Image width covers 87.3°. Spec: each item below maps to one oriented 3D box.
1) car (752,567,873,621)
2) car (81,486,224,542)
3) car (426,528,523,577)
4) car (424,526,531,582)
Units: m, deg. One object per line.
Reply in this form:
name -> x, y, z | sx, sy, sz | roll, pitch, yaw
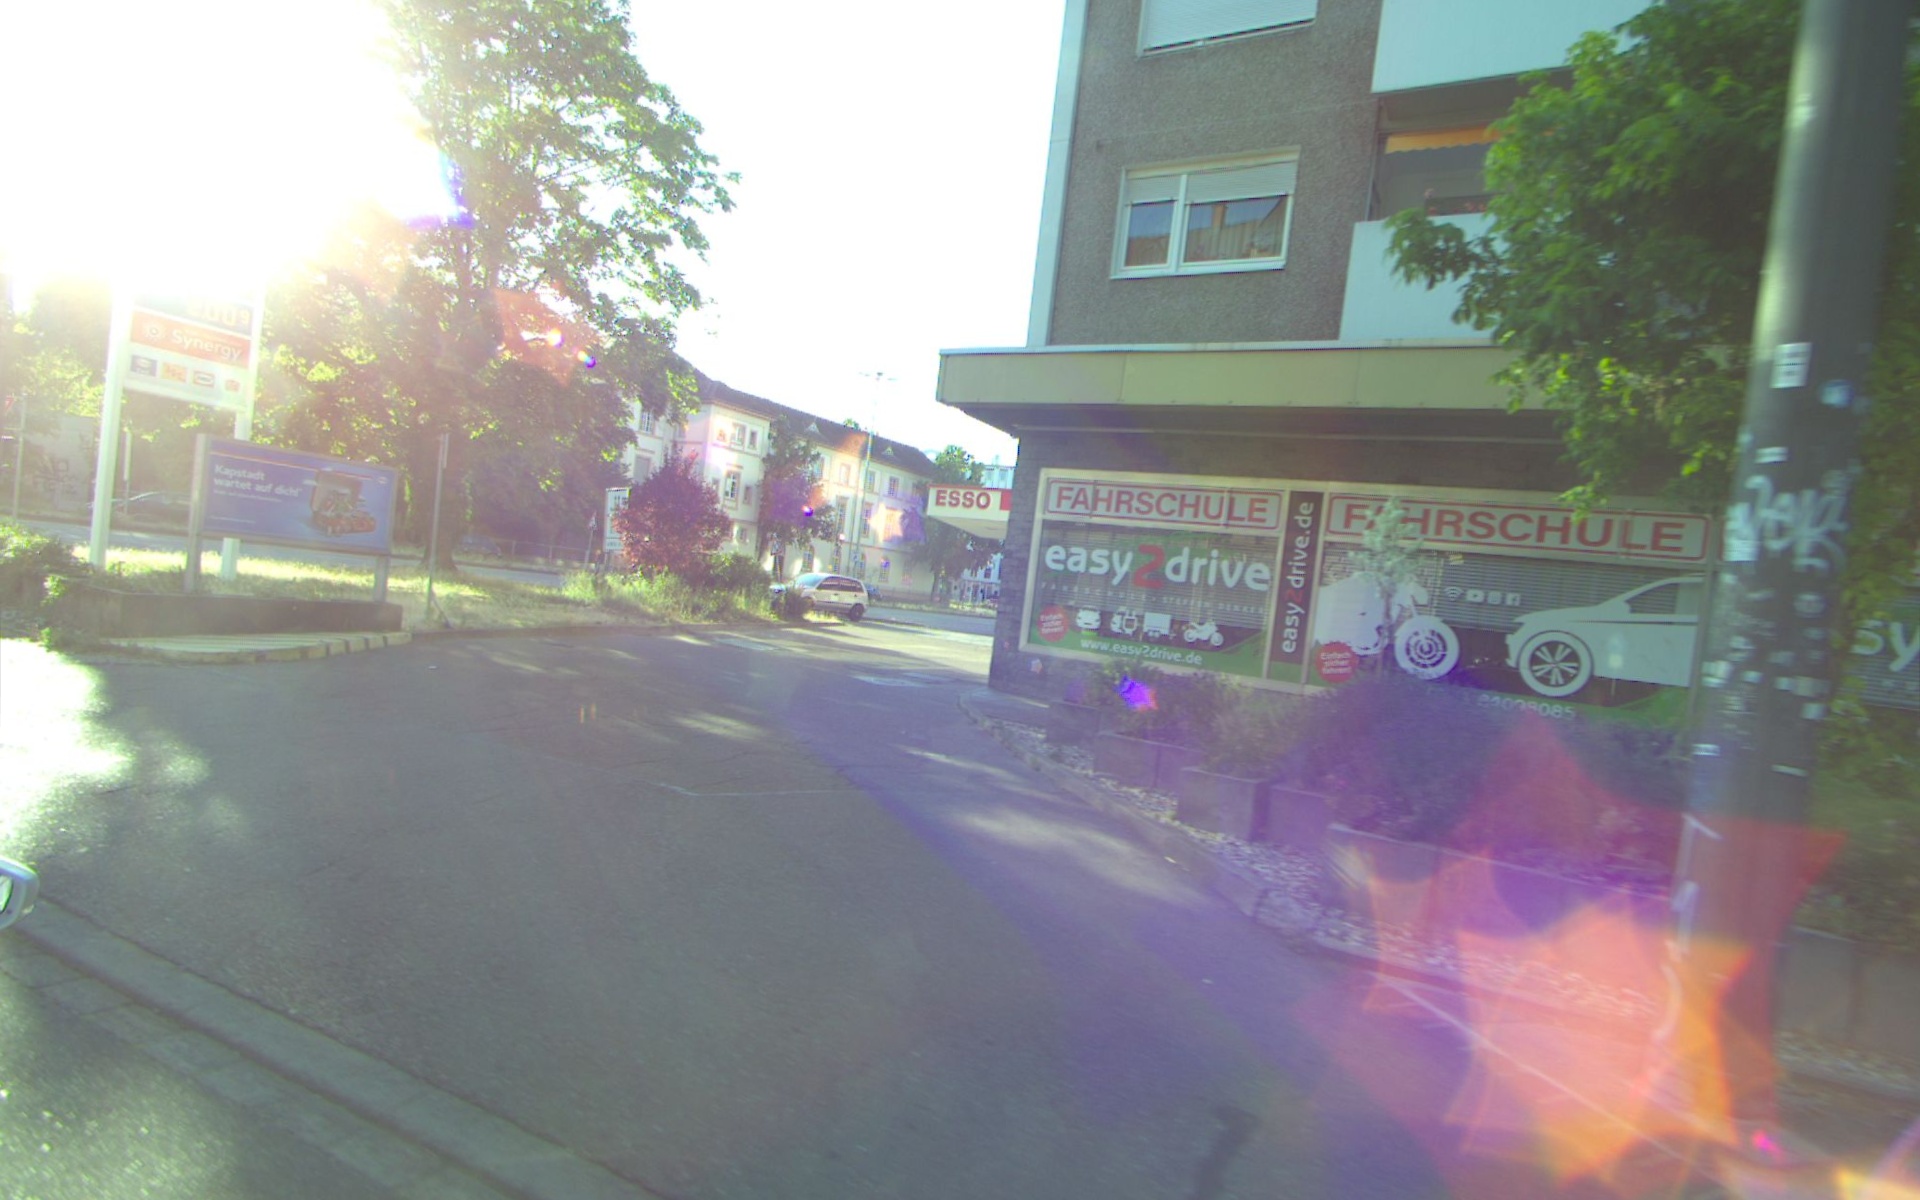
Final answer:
car -> -5.126, -0.175, 35.299 | 1.778, 1.438, 3.869 | 7, 1, 41
car -> -30.182, -3.190, 37.649 | 3.975, 1.471, 1.665 | 6, 1, -44
car -> -25.223, -2.449, 52.343 | 1.908, 2.039, 3.978 | 8, 1, 43
car -> -22.420, -2.129, 46.823 | 1.908, 2.039, 3.978 | 8, 1, 43
